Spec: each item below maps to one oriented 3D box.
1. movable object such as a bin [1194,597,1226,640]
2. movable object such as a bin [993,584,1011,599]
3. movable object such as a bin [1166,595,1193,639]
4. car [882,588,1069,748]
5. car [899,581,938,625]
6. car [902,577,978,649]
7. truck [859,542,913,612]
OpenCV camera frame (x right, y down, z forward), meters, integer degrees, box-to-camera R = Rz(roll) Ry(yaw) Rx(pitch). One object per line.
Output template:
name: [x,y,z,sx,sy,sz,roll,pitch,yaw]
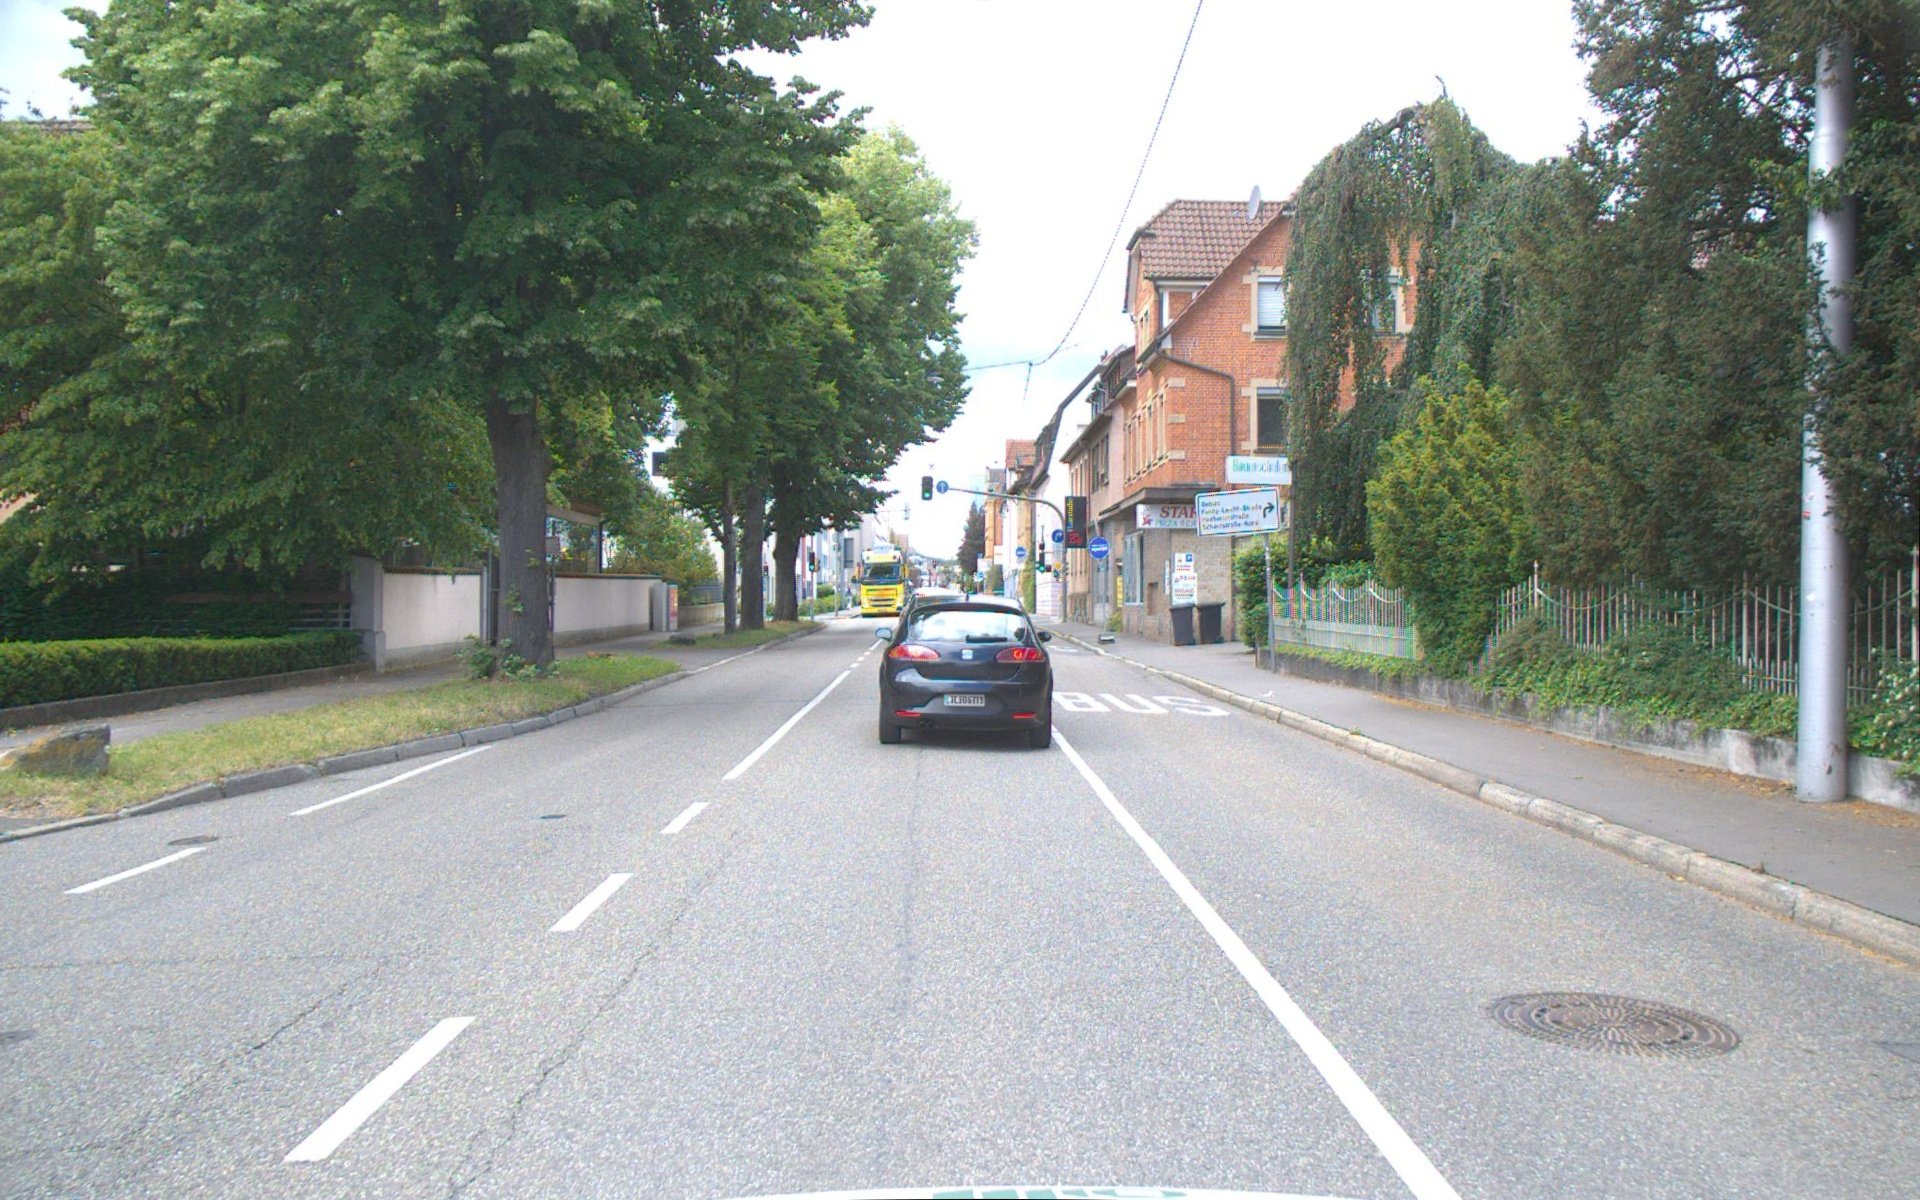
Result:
movable object such as a bin: [6.461,0.465,42.720,0.684,1.077,0.723,-2,0,-1]
movable object such as a bin: [4.281,-0.870,170.618,1.781,1.462,1.993,1,0,0]
movable object such as a bin: [5.660,0.431,42.676,0.594,1.120,0.622,-2,0,-1]
car: [0.119,0.634,17.397,1.723,1.467,3.999,1,0,-1]
car: [-1.655,0.115,66.509,1.500,1.723,3.692,1,0,-1]
car: [-0.529,0.315,41.822,1.805,1.723,3.999,1,0,-1]
truck: [-4.251,-1.293,96.512,2.785,3.848,7.668,1,0,0]
